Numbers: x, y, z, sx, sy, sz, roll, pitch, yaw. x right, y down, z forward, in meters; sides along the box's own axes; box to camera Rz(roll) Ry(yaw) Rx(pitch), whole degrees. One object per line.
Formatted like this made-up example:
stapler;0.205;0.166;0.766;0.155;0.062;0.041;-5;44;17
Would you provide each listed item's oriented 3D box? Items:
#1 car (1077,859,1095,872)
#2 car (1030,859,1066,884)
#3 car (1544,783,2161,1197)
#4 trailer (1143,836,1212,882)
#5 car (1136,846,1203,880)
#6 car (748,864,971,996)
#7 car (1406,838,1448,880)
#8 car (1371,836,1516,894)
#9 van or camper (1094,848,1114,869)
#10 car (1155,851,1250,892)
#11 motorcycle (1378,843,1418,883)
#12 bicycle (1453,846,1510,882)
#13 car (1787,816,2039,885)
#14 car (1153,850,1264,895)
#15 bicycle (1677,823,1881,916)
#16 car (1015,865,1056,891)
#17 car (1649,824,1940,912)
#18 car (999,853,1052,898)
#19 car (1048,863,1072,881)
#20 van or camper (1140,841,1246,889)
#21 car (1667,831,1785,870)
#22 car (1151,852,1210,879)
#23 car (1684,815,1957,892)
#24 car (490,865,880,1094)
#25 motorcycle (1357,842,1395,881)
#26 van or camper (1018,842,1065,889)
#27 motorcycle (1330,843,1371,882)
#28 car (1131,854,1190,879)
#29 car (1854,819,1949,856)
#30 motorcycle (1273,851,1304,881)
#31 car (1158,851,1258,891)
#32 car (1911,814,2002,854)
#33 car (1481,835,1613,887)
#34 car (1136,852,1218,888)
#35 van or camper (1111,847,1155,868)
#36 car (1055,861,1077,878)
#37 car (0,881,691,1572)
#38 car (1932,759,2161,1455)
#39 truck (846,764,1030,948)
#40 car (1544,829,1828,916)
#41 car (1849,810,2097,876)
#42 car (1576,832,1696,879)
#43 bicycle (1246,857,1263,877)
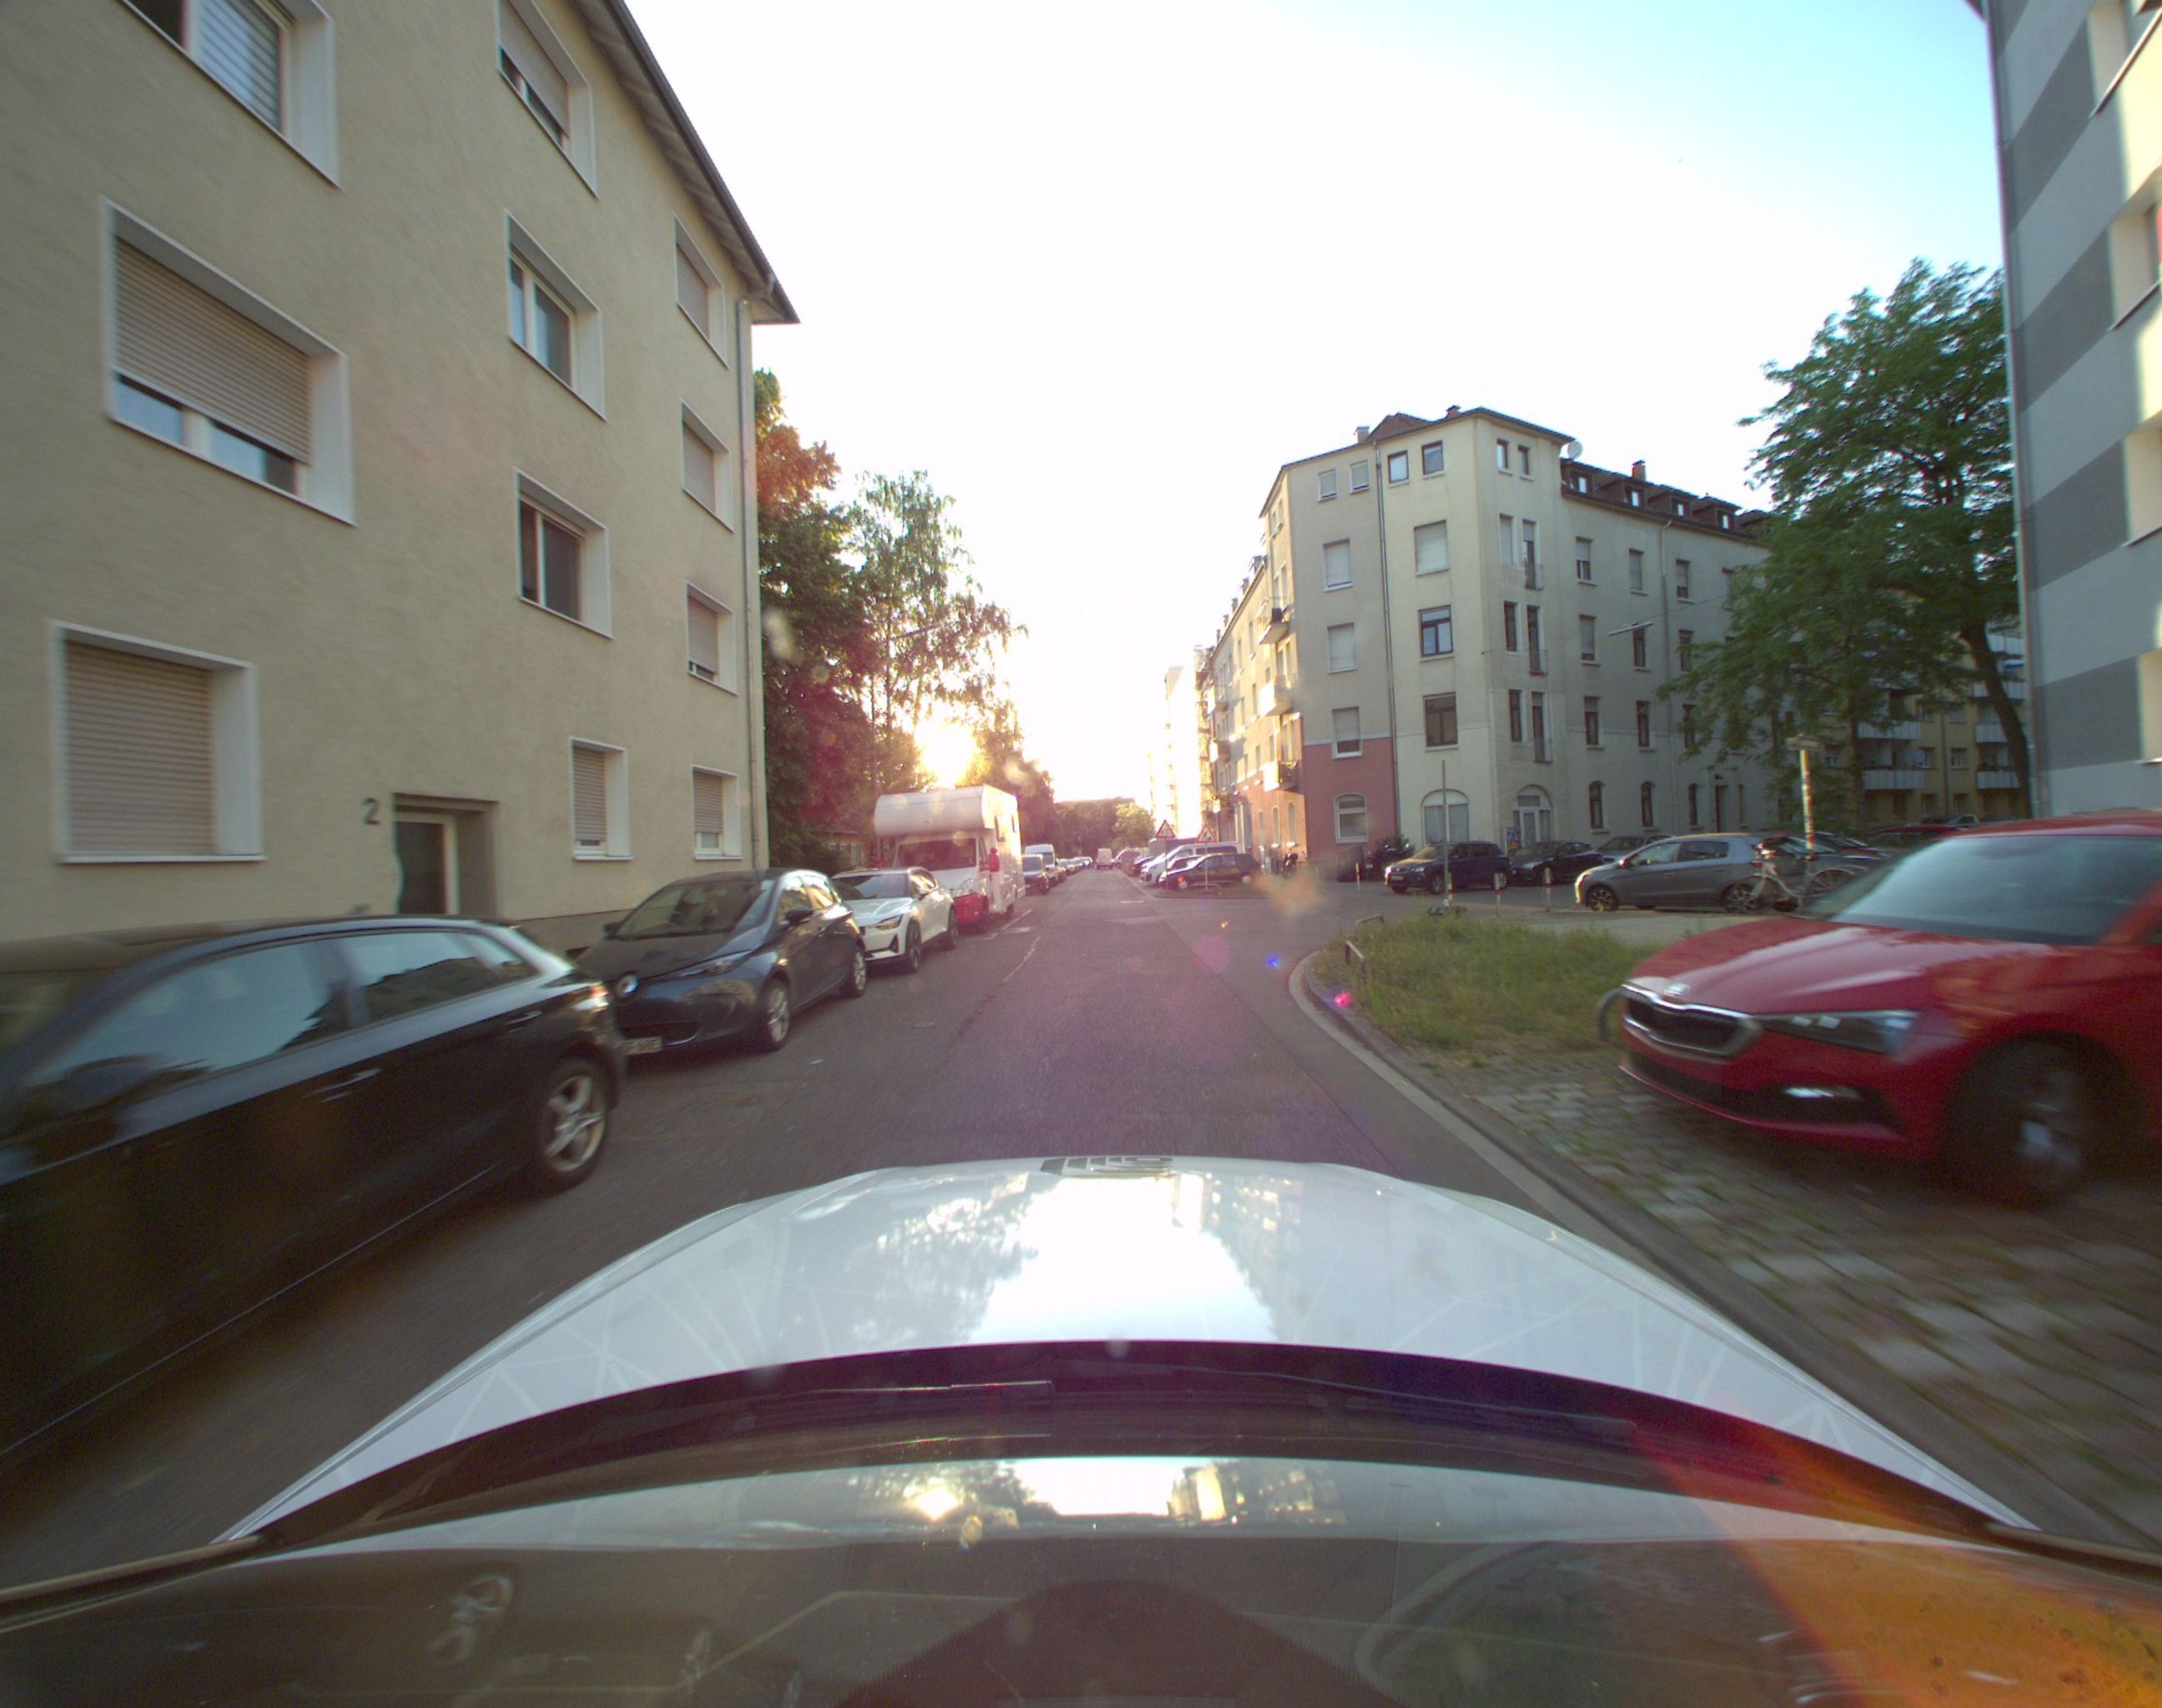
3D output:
car;0.730;1.584;113.149;1.794;1.569;4.576;-3;-1;9
car;-2.105;1.103;53.319;1.986;1.519;4.791;-2;0;2
car;5.006;0.467;4.040;4.283;1.541;1.924;-2;0;2
trailer;5.522;0.269;47.082;3.558;2.337;1.939;-5;-1;-2
car;6.132;0.598;56.873;4.261;1.979;1.818;-5;0;-7
car;-3.164;1.000;12.866;1.899;1.476;4.912;-5;0;2
car;13.032;0.163;30.605;0.835;1.456;2.795;-3;-1;34
car;11.202;0.308;25.185;4.003;1.573;1.816;-2;0;-22
van or camper;3.030;0.589;105.868;2.444;2.547;6.085;0;-1;2
car;5.502;0.786;37.301;3.975;1.618;1.999;-2;-1;-1
motorcycle;12.205;0.339;31.310;0.735;1.434;2.670;-3;0;35
bicycle;15.046;0.395;30.607;1.880;1.281;0.689;-2;-1;27
car;20.679;-0.043;20.440;2.004;1.516;3.965;-2;-1;-26
car;5.051;0.713;32.651;4.091;1.585;1.853;-2;-1;-2
bicycle;11.321;0.253;13.344;0.518;1.383;2.481;-2;-1;-28
car;-2.337;1.217;41.865;1.990;1.189;4.031;-2;0;-4
car;14.116;0.276;16.402;1.850;1.486;3.967;-2;-1;-24
car;-2.427;0.925;36.858;1.904;1.788;4.949;-3;0;0
car;-1.832;1.522;71.207;1.988;1.453;3.997;-2;0;-2
van or camper;5.376;0.536;39.604;4.818;2.096;2.040;-2;0;0
car;25.144;-0.128;31.762;4.008;1.354;2.077;-2;-1;-26
car;6.609;0.754;54.440;3.681;1.610;1.744;-2;-1;-1
car;16.104;0.022;17.992;2.003;1.464;3.967;-2;-1;-24
car;-3.444;0.957;8.086;1.784;1.533;4.067;-4;0;0
motorcycle;11.556;0.277;31.816;0.735;1.434;2.368;-3;0;36
van or camper;-2.210;0.632;47.663;1.985;2.457;6.089;-2;0;4
motorcycle;10.667;0.318;32.199;0.828;1.434;2.368;-3;0;36
car;5.797;0.886;59.592;4.136;1.615;1.873;-2;-1;2
car;38.707;-0.766;38.422;4.008;1.585;1.983;-2;-1;-26
motorcycle;9.173;0.511;36.113;0.739;1.235;2.654;-2;0;2
car;5.440;0.725;35.258;3.975;1.530;1.999;-2;-1;-1
car;43.455;-0.994;40.425;4.008;1.783;1.983;-2;-1;-26
car;15.598;0.217;27.255;4.010;1.505;1.952;-2;0;-28
car;4.938;0.816;42.340;3.975;1.640;1.999;-2;-1;-1
van or camper;7.236;0.439;114.043;5.909;2.770;2.109;-1;-1;0
car;-1.372;1.431;77.304;1.776;1.445;4.749;-5;-1;1
car;-3.439;0.923;2.830;1.987;1.444;4.431;-2;0;0
car;4.541;0.523;1.448;3.975;1.662;1.999;-2;0;-1
truck;-3.015;0.058;19.722;2.516;3.353;8.020;-5;-1;2
car;11.641;0.348;15.988;2.003;1.420;3.967;-2;0;-25
car;23.165;-0.238;21.339;2.004;1.530;3.965;-2;-1;-27
car;19.960;0.039;29.285;4.011;1.505;1.954;-2;0;-29
bicycle;9.725;0.730;45.801;0.514;1.060;1.904;-2;-1;0
